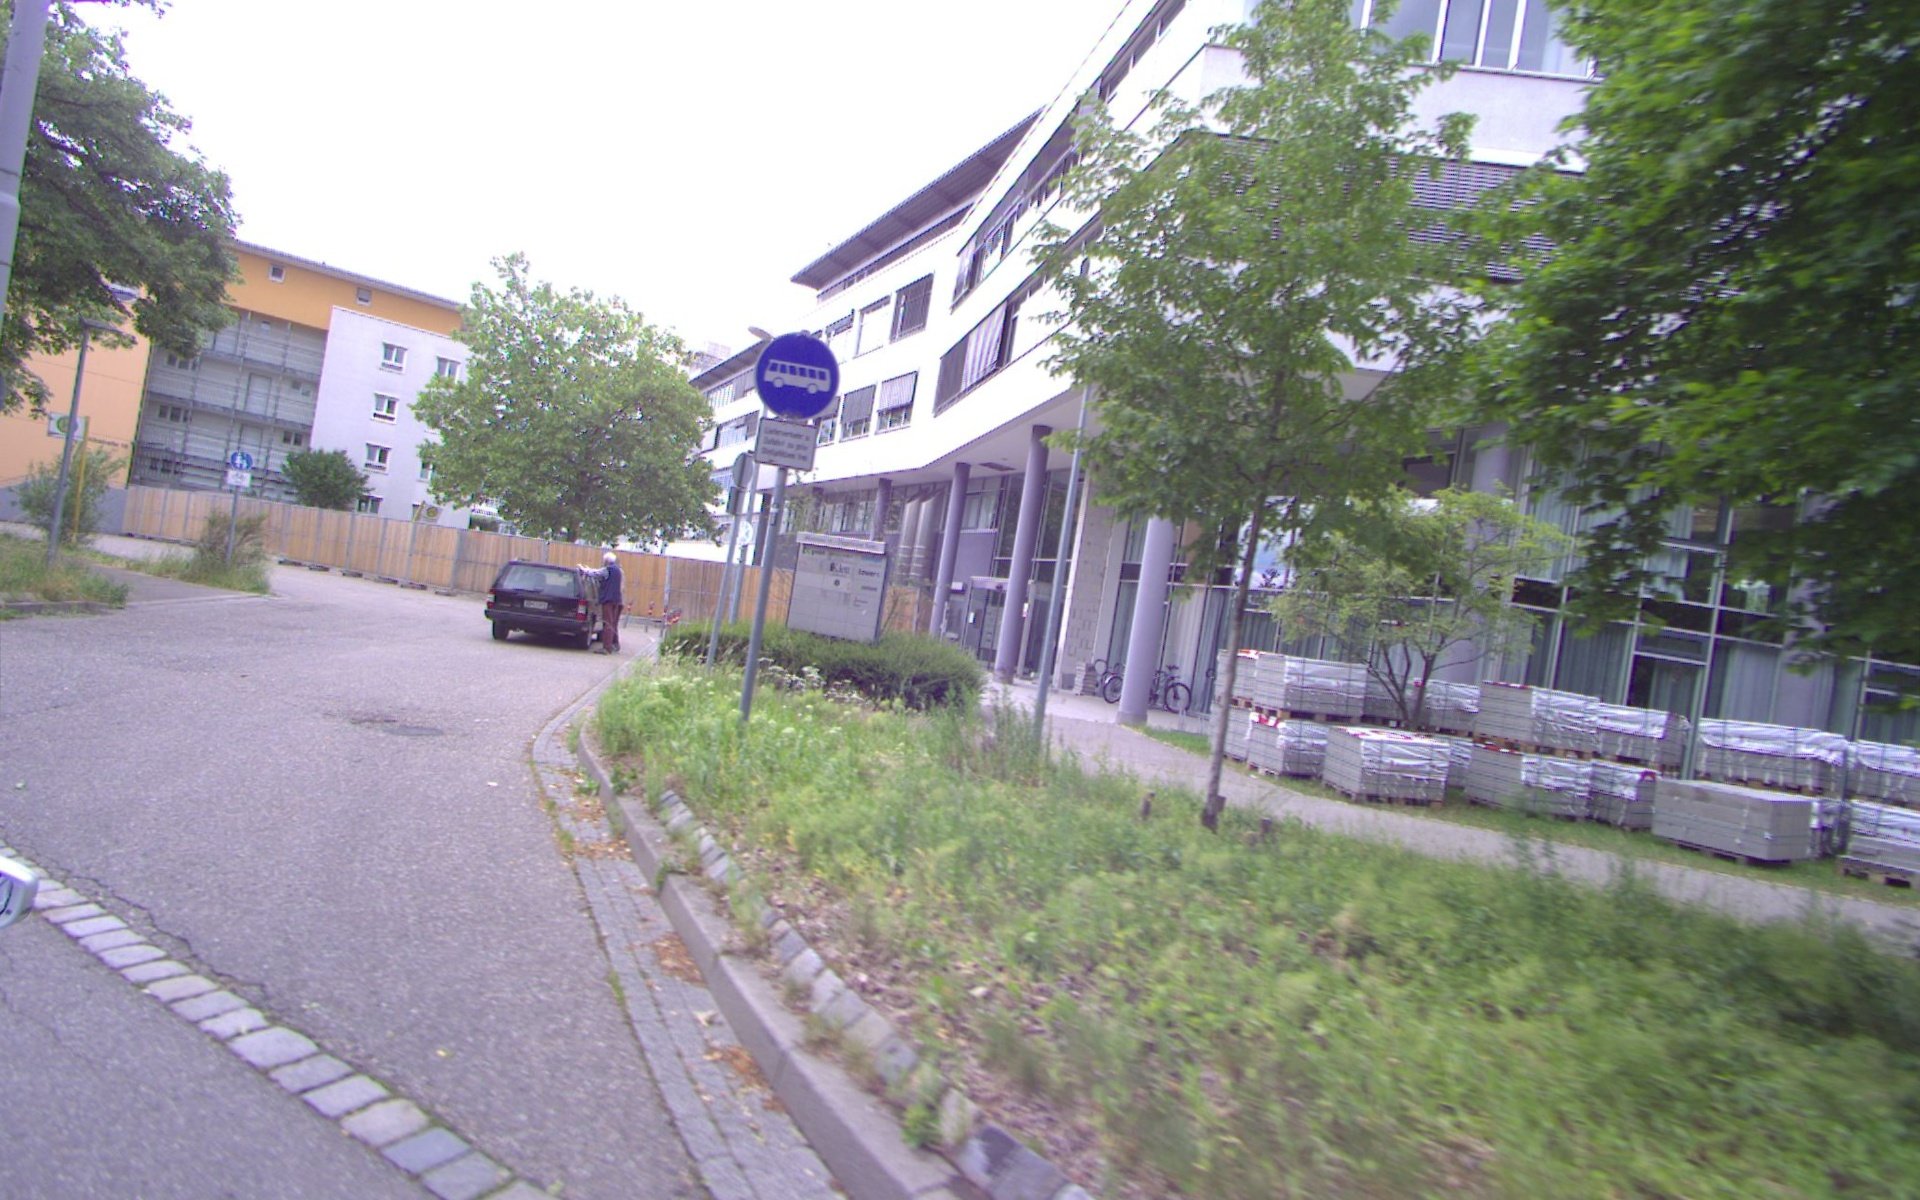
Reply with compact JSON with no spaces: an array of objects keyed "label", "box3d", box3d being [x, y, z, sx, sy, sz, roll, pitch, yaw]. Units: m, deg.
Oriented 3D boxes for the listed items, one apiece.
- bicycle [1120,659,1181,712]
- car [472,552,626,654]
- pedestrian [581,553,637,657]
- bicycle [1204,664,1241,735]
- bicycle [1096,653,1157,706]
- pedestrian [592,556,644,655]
[{"label":"bicycle","box3d":[4.523,2.033,23.843,1.387,1.084,0.390,10,-3,-30]},{"label":"car","box3d":[-7.810,0.043,19.586,1.841,1.535,4.732,7,-1,-12]},{"label":"pedestrian","box3d":[-6.340,0.082,18.174,0.574,1.777,0.474,10,3,1]},{"label":"bicycle","box3d":[4.763,1.797,18.203,0.482,1.160,1.742,7,-3,16]},{"label":"bicycle","box3d":[4.002,1.907,24.163,1.387,1.084,0.390,10,-3,-30]},{"label":"pedestrian","box3d":[-6.367,0.092,18.743,0.527,1.747,0.498,10,3,1]}]
